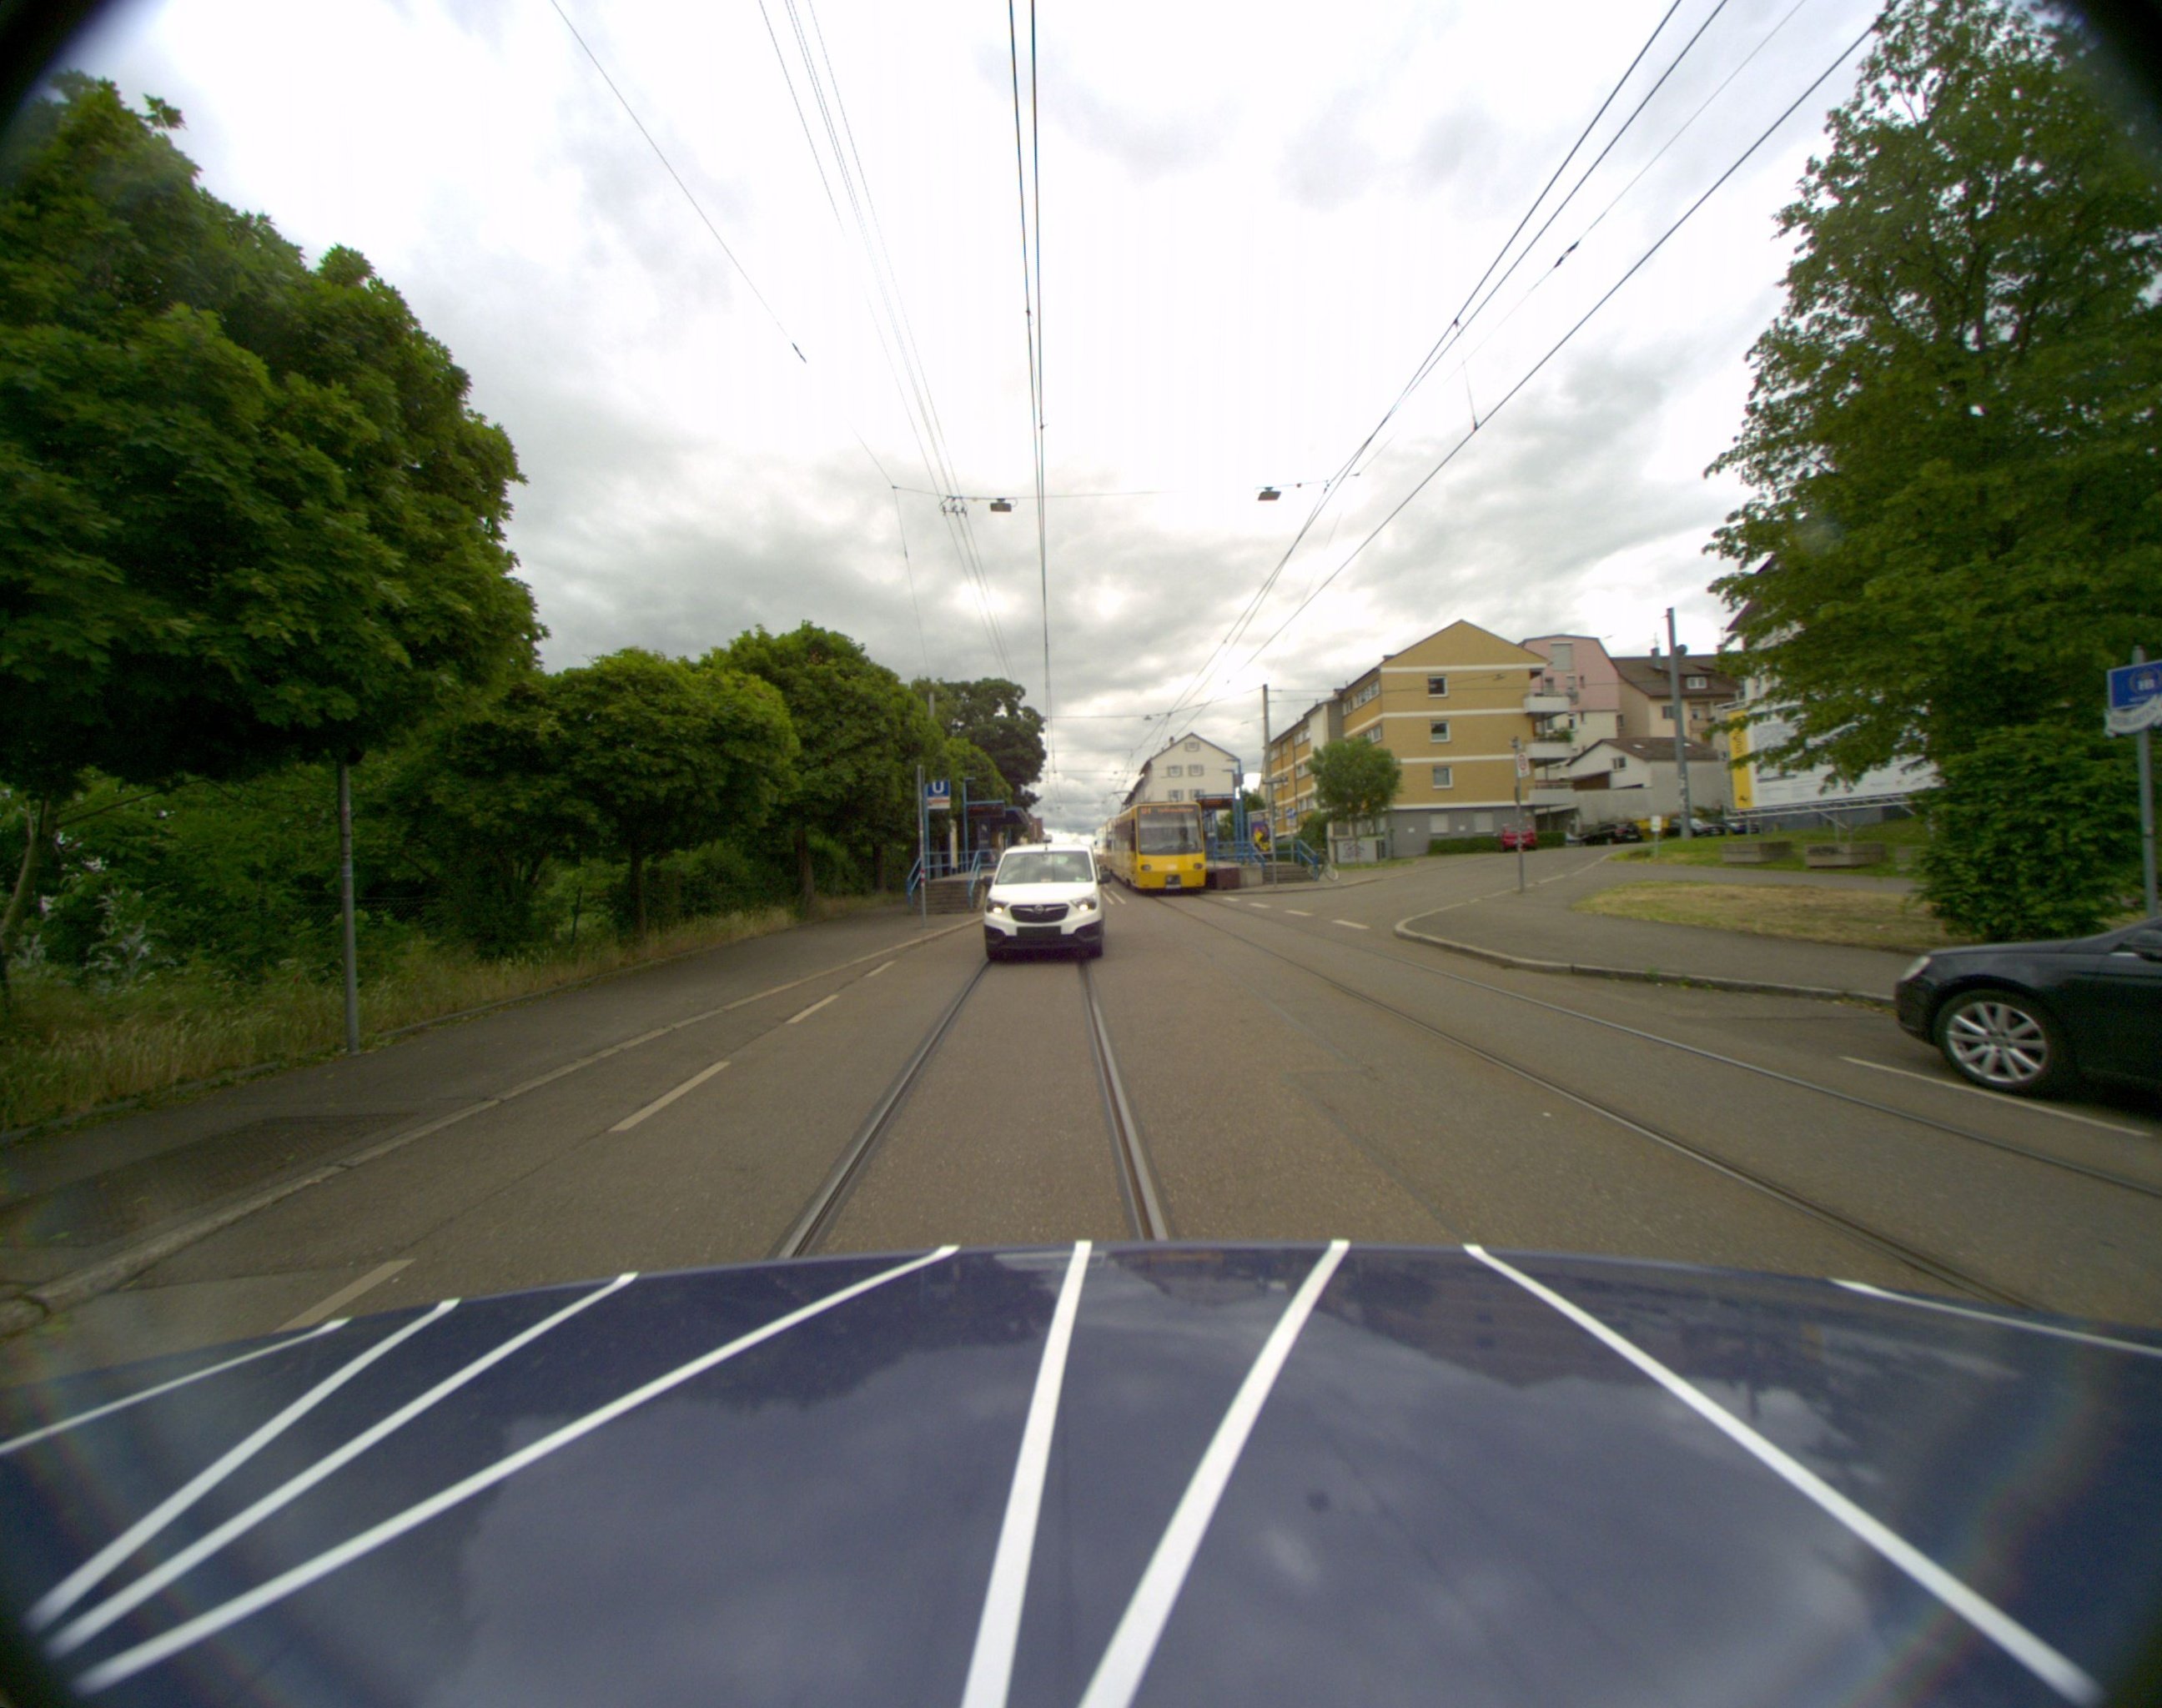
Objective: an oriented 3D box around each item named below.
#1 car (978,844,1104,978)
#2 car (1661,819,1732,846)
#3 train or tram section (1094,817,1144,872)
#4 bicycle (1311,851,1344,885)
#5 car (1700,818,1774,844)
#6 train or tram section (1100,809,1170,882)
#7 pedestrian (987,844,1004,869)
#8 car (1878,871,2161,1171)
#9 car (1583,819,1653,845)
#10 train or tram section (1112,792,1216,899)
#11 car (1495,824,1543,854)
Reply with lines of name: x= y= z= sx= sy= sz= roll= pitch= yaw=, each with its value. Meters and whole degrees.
car: x=-0.553 y=0.811 z=13.044 sx=1.730 sy=1.850 sz=4.420 roll=-2 pitch=0 yaw=0
car: x=37.494 y=-1.287 z=46.412 sx=1.839 sy=1.455 sz=4.004 roll=-2 pitch=0 yaw=15
train or tram section: x=2.634 y=-0.673 z=56.960 sx=2.758 sy=3.615 sz=12.127 roll=-2 pitch=0 yaw=-1
bicycle: x=9.063 y=0.495 z=28.007 sx=0.713 sy=1.174 sz=1.488 roll=-2 pitch=1 yaw=0
car: x=40.373 y=-1.408 z=46.872 sx=1.839 sy=1.455 sz=4.004 roll=-2 pitch=0 yaw=15
train or tram section: x=2.915 y=-0.460 z=44.798 sx=2.831 sy=3.615 sz=12.127 roll=-2 pitch=0 yaw=-1
pedestrian: x=-4.671 y=0.126 z=41.475 sx=0.781 sy=1.307 sz=0.657 roll=-2 pitch=1 yaw=-1
car: x=6.293 y=0.870 z=3.036 sx=1.794 sy=1.396 sz=4.160 roll=-2 pitch=1 yaw=-2
car: x=32.628 y=-1.300 z=46.307 sx=1.840 sy=1.455 sz=4.002 roll=-2 pitch=0 yaw=9
train or tram section: x=3.154 y=-0.317 z=32.611 sx=2.857 sy=3.615 sz=12.127 roll=-2 pitch=0 yaw=-1
car: x=23.851 y=-0.813 z=41.473 sx=1.838 sy=1.455 sz=4.006 roll=-2 pitch=0 yaw=24
